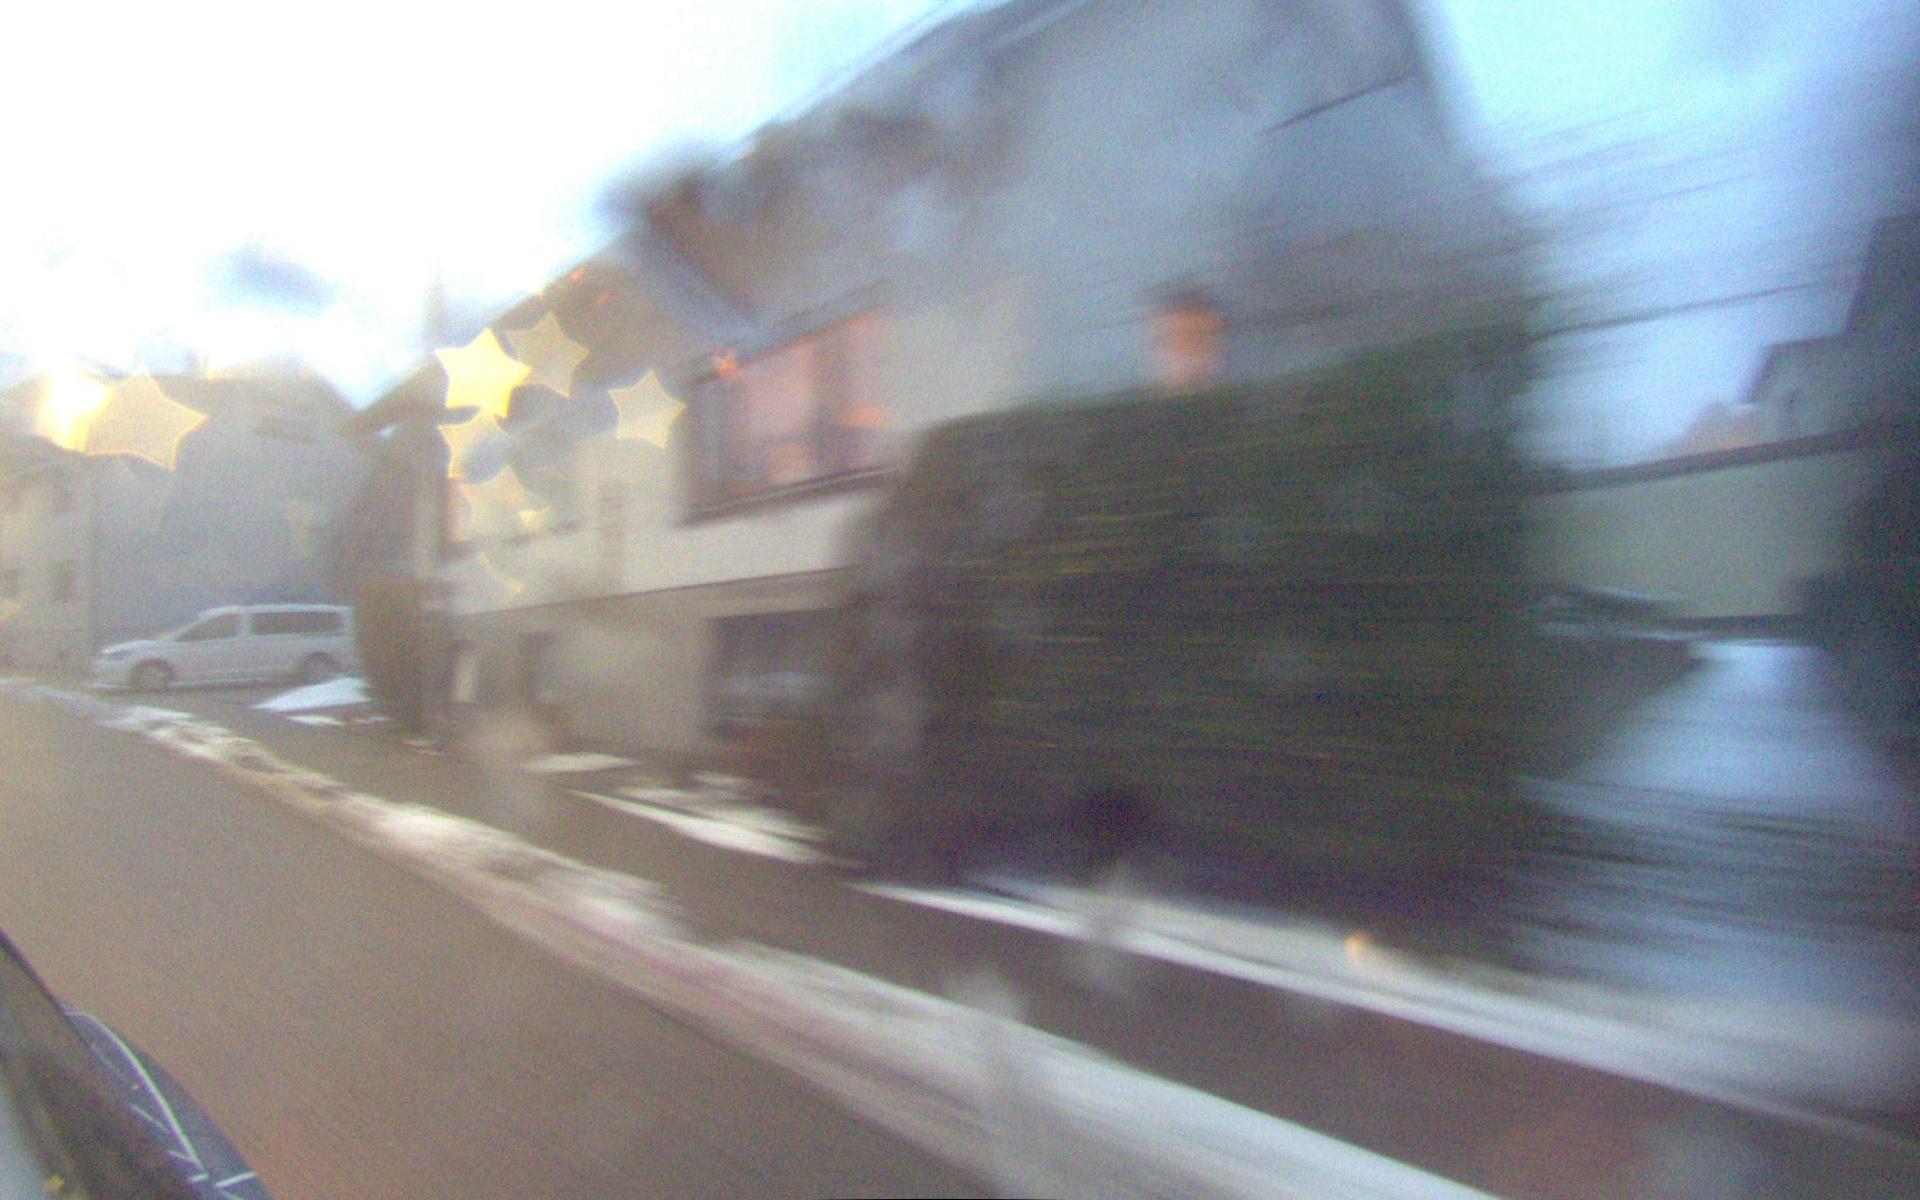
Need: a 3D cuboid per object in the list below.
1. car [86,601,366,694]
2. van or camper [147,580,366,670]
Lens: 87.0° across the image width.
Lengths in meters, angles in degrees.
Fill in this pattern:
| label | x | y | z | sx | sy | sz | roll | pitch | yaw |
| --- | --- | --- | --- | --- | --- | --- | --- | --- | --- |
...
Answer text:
| label | x | y | z | sx | sy | sz | roll | pitch | yaw |
| --- | --- | --- | --- | --- | --- | --- | --- | --- | --- |
| car | -16.040 | 0.962 | 22.303 | 4.737 | 1.679 | 1.891 | -3 | 0 | -45 |
| van or camper | -21.057 | 0.772 | 30.636 | 2.127 | 2.467 | 5.276 | -1 | -2 | 17 |
